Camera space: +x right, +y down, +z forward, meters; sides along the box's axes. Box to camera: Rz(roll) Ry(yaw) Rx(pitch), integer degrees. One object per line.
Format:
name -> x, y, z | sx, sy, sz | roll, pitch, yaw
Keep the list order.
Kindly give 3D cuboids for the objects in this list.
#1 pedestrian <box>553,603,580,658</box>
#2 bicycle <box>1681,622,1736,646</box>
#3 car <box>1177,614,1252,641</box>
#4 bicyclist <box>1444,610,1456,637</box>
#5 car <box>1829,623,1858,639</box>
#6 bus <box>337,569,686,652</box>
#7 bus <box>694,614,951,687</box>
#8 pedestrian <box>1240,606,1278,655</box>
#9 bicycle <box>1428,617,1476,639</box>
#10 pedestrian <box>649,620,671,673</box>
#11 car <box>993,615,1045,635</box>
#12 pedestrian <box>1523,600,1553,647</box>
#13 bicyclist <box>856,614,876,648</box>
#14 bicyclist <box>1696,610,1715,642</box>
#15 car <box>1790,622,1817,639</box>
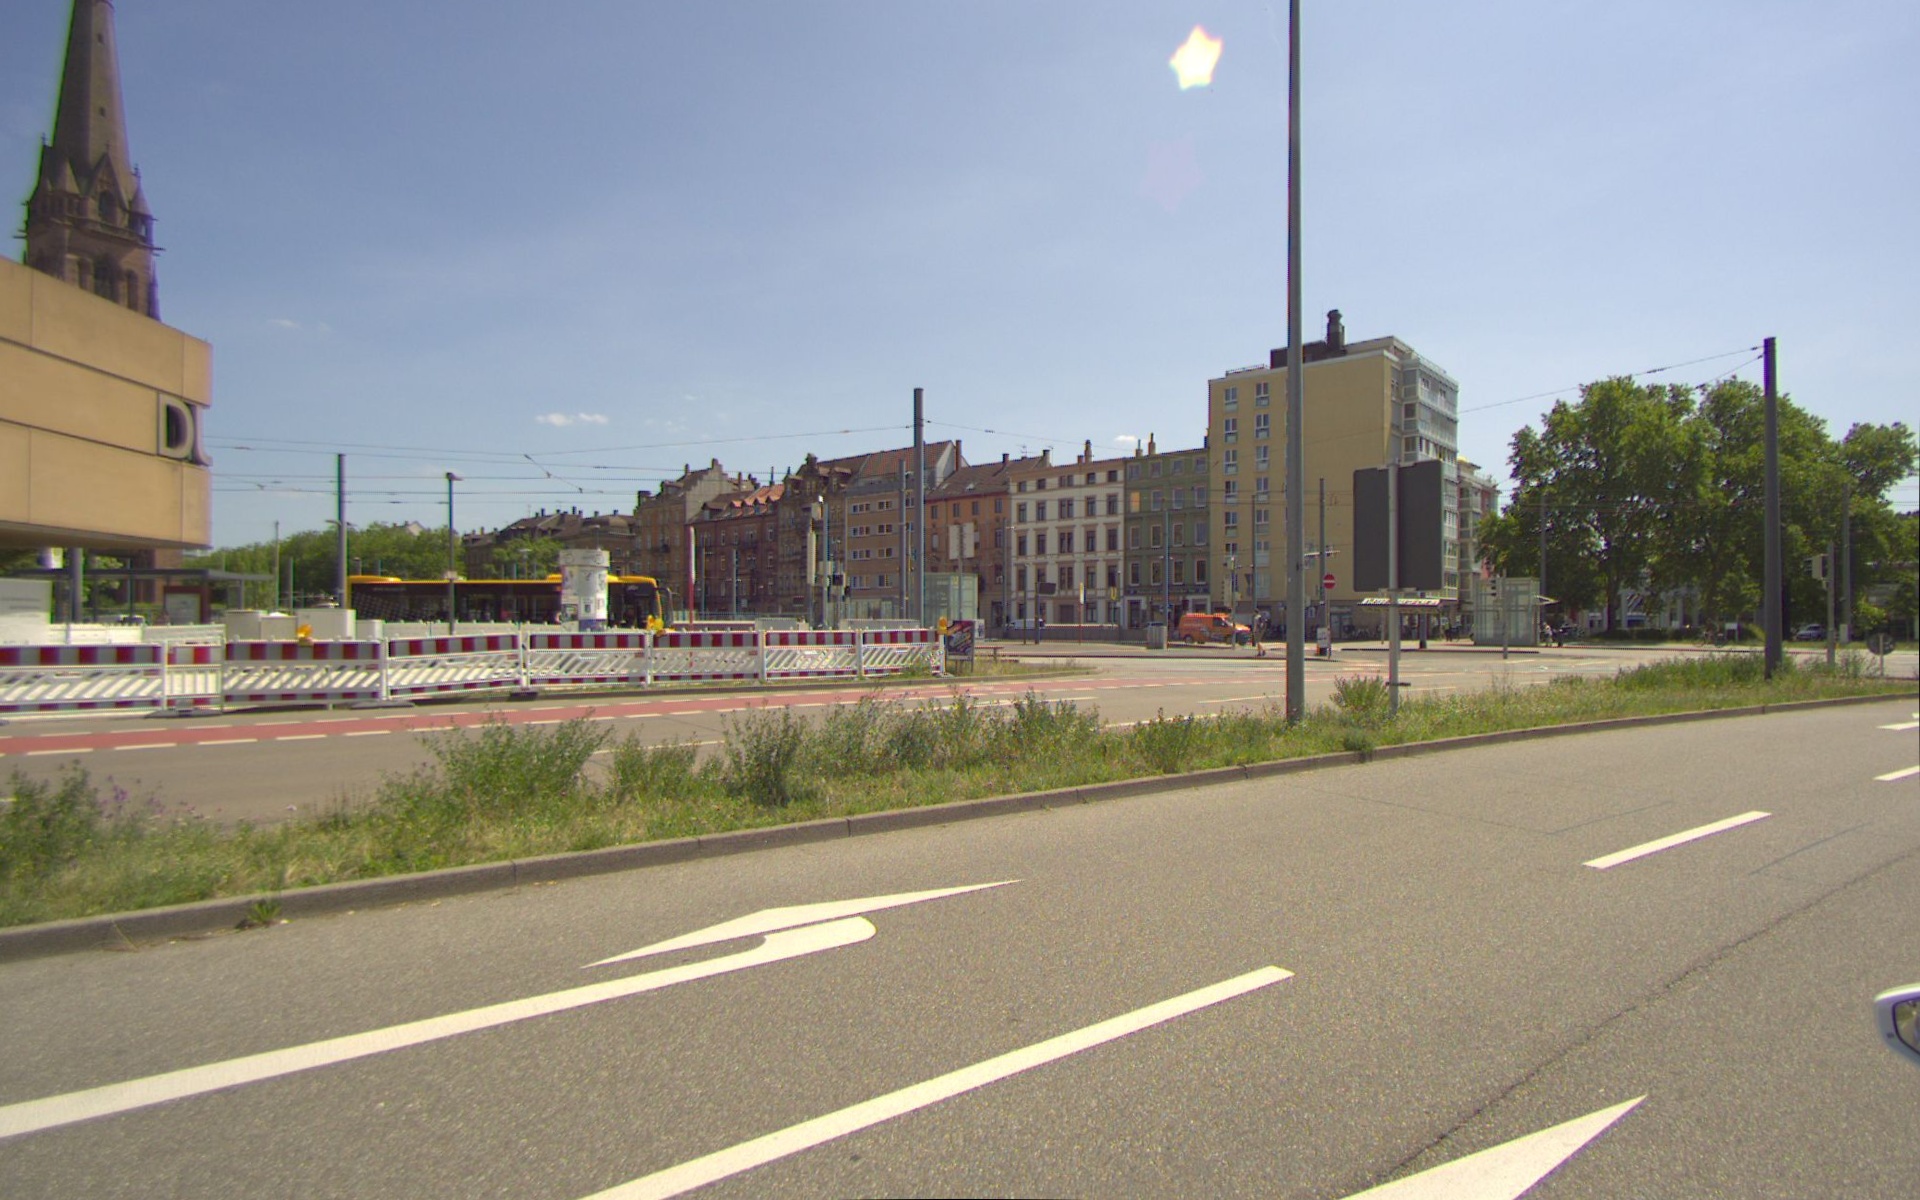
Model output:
pedestrian -> -14.639, 1.131, 37.385 | 0.650, 2.022, 0.611 | -1, 1, 9
bicycle -> 47.158, 2.121, 63.312 | 0.664, 1.404, 2.754 | -2, 1, -37
car -> 16.535, 1.773, 65.428 | 4.575, 1.635, 1.665 | -1, 1, 45
bicyclist -> 38.868, 1.842, 79.682 | 0.724, 2.134, 0.777 | -1, 1, 11
car -> 86.161, 3.010, 97.961 | 3.388, 1.437, 1.499 | -1, 1, -37
bus -> -17.401, 0.447, 39.915 | 12.020, 3.081, 3.737 | 0, -1, -5
bus -> -2.862, 1.024, 22.116 | 5.768, 1.266, 1.234 | -1, 1, -38
pedestrian -> 12.278, 1.256, 41.293 | 0.894, 1.959, 1.170 | -2, 1, -37
bicycle -> 38.984, 2.243, 79.666 | 3.256, 1.617, 0.819 | -2, 1, 13
pedestrian -> -11.639, 1.807, 39.007 | 0.651, 2.022, 0.611 | -1, 1, -1
car -> 5.146, 2.205, 87.691 | 4.255, 1.649, 1.806 | -1, 1, 40
pedestrian -> 37.284, 1.510, 64.793 | 1.322, 2.977, 1.206 | -2, 1, -34
bicyclist -> -5.860, 1.920, 62.646 | 0.784, 2.041, 0.859 | 0, 1, 38
bicyclist -> 47.061, 1.638, 63.422 | 0.621, 1.992, 0.839 | -2, 1, -38
car -> 84.784, 3.035, 100.966 | 3.405, 1.528, 1.414 | -1, 1, -37
